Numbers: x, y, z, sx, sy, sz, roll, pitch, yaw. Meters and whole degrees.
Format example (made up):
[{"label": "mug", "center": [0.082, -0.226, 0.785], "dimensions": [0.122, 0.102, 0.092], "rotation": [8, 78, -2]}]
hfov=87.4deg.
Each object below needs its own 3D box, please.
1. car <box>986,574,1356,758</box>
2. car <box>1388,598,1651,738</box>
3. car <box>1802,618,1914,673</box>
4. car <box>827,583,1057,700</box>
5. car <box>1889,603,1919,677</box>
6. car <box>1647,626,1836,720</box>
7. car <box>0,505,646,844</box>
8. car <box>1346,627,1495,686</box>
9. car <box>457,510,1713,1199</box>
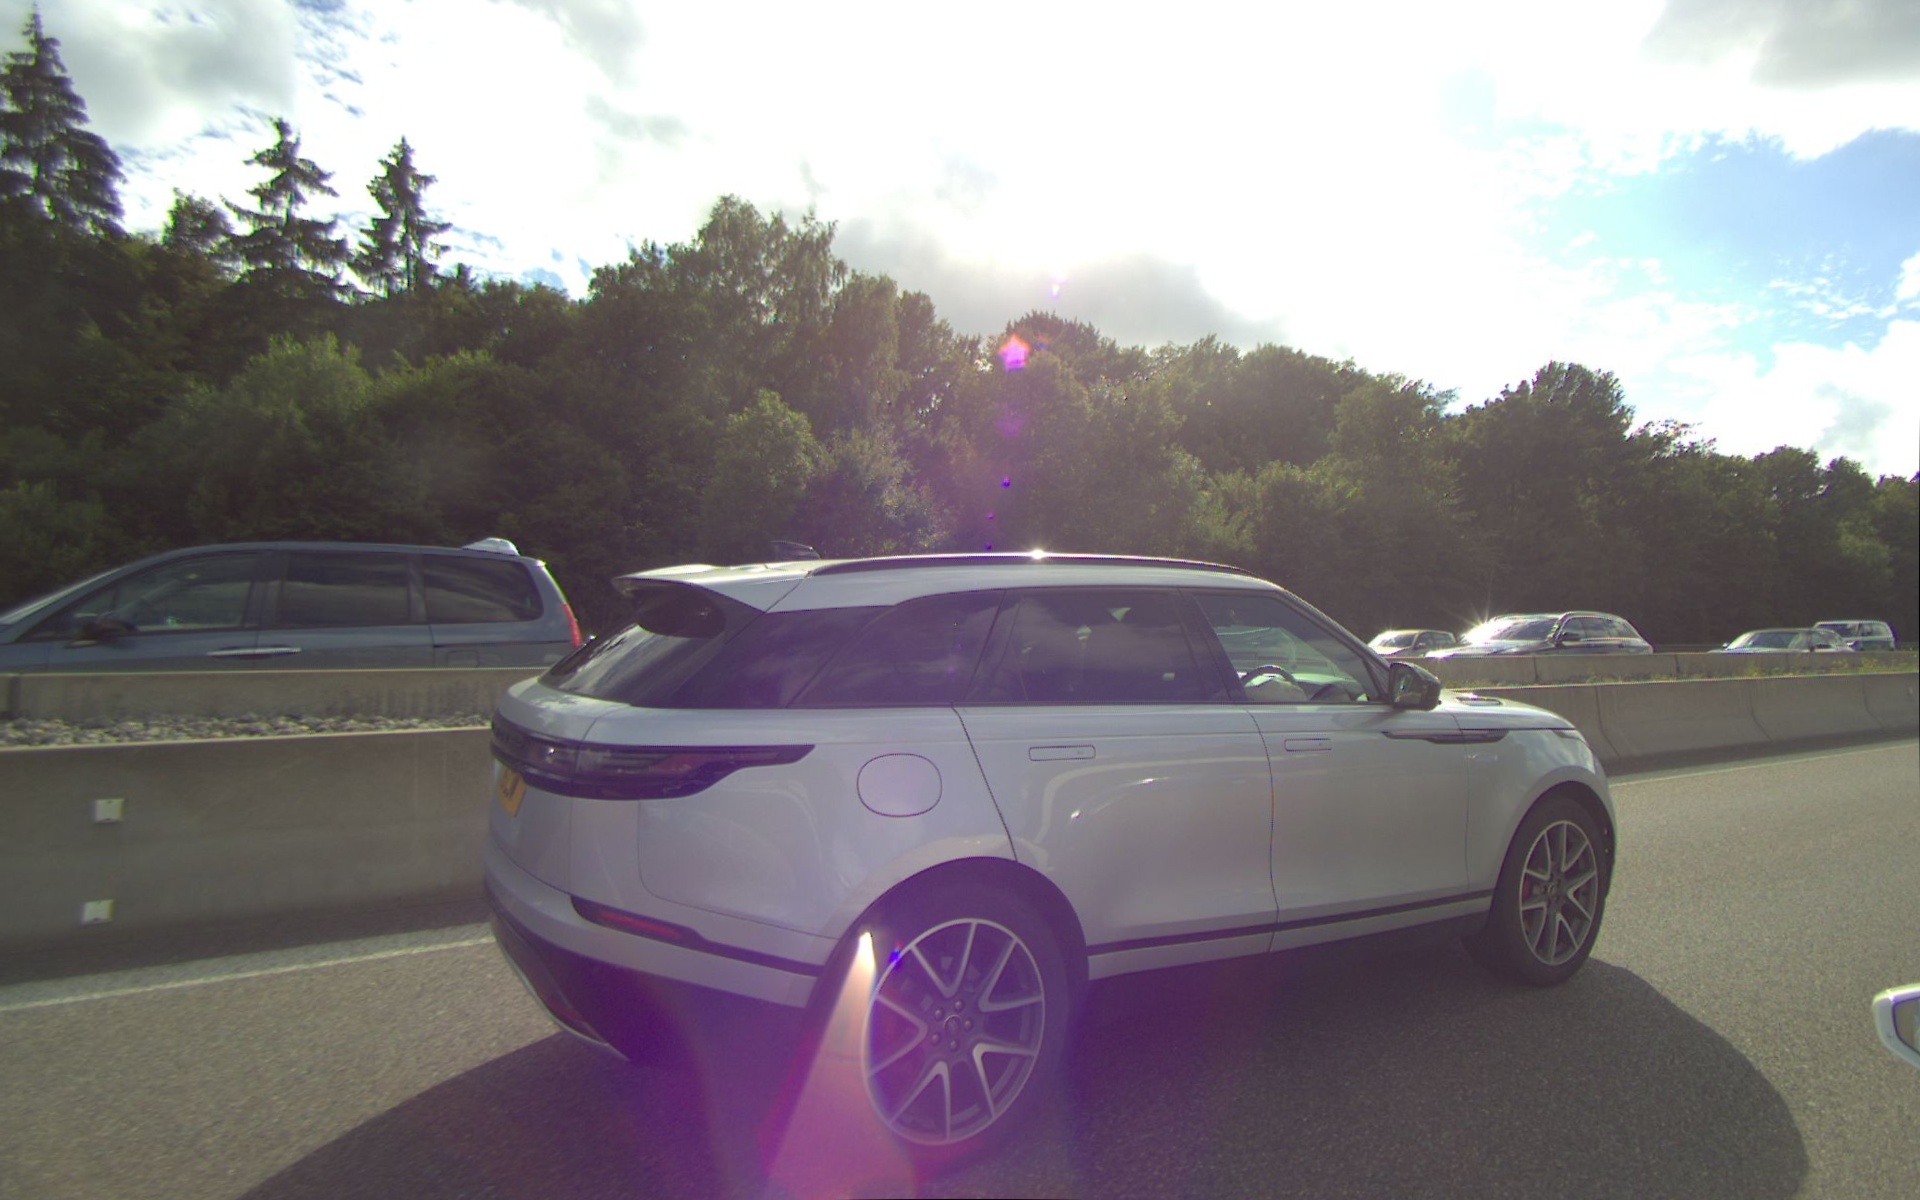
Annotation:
[{"label": "car", "center": [2.800, 0.840, 13.121], "dimensions": [4.493, 2.040, 1.985], "rotation": [3, -1, -29]}, {"label": "car", "center": [9.257, 1.099, 16.601], "dimensions": [3.952, 2.040, 1.985], "rotation": [3, -1, -29]}, {"label": "car", "center": [37.261, 1.881, 41.646], "dimensions": [4.796, 2.040, 1.985], "rotation": [3, -1, -29]}, {"label": "car", "center": [-0.340, 0.808, 19.500], "dimensions": [3.952, 2.040, 1.985], "rotation": [3, -1, -29]}, {"label": "car", "center": [28.330, 1.218, 28.314], "dimensions": [3.952, 2.040, 1.985], "rotation": [3, -1, -29]}, {"label": "car", "center": [16.986, 1.589, 21.812], "dimensions": [3.952, 1.817, 1.811], "rotation": [3, -1, -29]}, {"label": "car", "center": [-5.017, 0.516, 7.648], "dimensions": [4.624, 2.040, 1.983], "rotation": [3, -1, -31]}, {"label": "car", "center": [13.057, 1.613, 28.465], "dimensions": [3.950, 1.474, 1.749], "rotation": [3, -1, -28]}, {"label": "car", "center": [0.818, 0.716, 4.151], "dimensions": [5.047, 1.628, 1.890], "rotation": [2, -1, -31]}]
